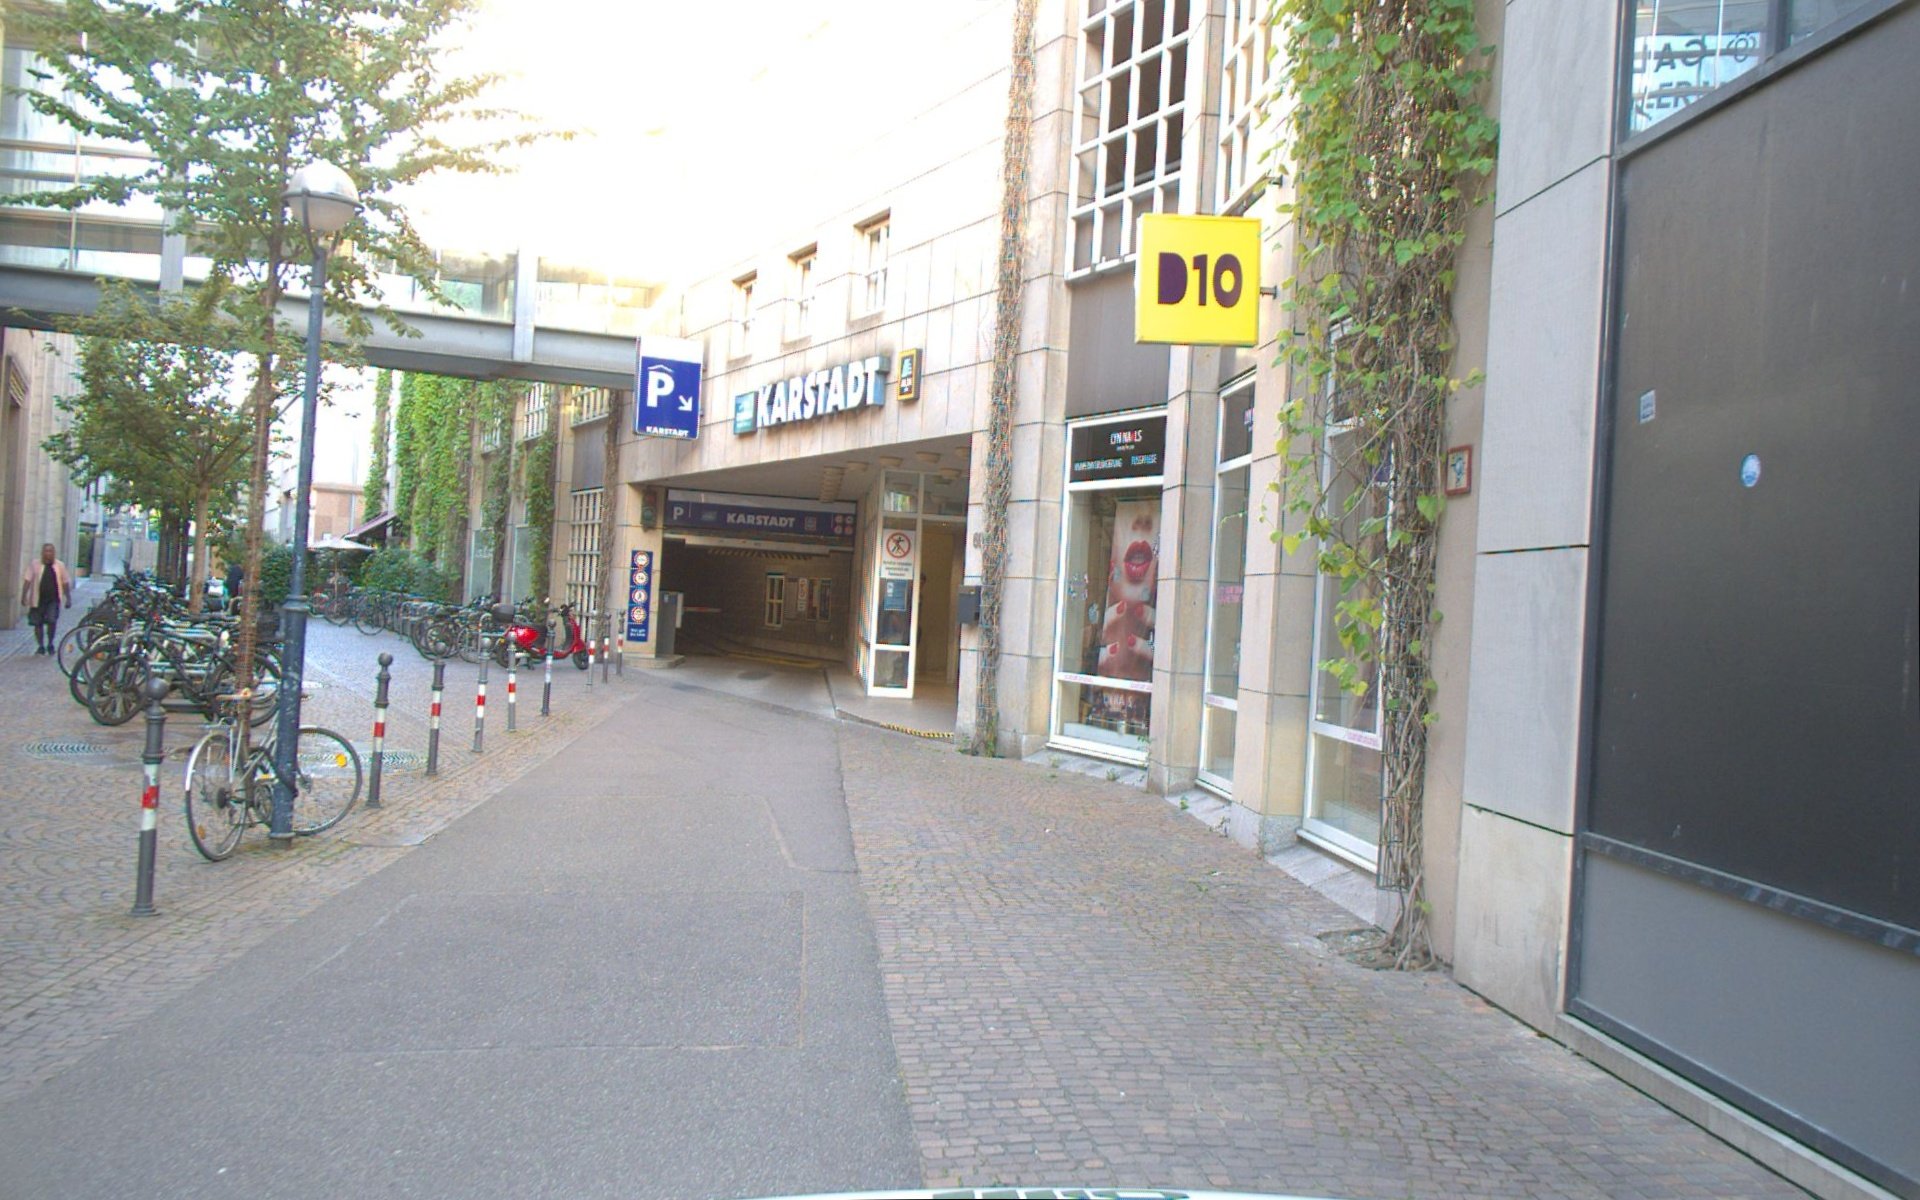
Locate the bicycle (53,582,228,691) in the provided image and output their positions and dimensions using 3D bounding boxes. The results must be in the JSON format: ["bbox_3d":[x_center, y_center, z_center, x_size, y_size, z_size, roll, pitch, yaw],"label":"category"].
[{"bbox_3d":[-9.753,0.443,19.719,1.813,1.246,0.529,2,0,-29],"label":"bicycle"}]

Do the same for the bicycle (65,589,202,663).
[{"bbox_3d":[-12.475,0.398,24.981,1.804,1.061,0.529,2,0,-29],"label":"bicycle"}]

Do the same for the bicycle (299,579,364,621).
[{"bbox_3d":[-19.050,0.009,50.115,1.752,1.211,0.581,2,0,-27],"label":"bicycle"}]

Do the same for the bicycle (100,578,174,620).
[{"bbox_3d":[-23.784,-0.025,47.809,1.883,1.131,0.476,2,0,-29],"label":"bicycle"}]

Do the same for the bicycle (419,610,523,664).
[{"bbox_3d":[-8.914,0.677,30.174,1.752,0.920,0.460,2,0,-27],"label":"bicycle"}]

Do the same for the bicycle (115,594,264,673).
[{"bbox_3d":[-10.885,0.476,23.394,1.856,1.061,0.529,2,0,-29],"label":"bicycle"}]

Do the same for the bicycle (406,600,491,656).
[{"bbox_3d":[-10.314,0.569,33.356,1.521,1.067,0.570,2,0,-27],"label":"bicycle"}]

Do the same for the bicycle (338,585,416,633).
[{"bbox_3d":[-14.606,0.221,41.454,1.752,1.134,0.538,2,0,-27],"label":"bicycle"}]

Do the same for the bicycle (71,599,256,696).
[{"bbox_3d":[-9.181,0.553,19.106,1.873,1.070,0.529,2,0,-29],"label":"bicycle"}]

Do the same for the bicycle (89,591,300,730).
[{"bbox_3d":[-7.232,0.573,15.654,1.746,1.252,0.529,2,0,-29],"label":"bicycle"}]

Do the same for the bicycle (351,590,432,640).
[{"bbox_3d":[-13.656,0.354,39.749,1.752,1.134,0.538,2,0,-27],"label":"bicycle"}]

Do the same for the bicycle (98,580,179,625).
[{"bbox_3d":[-21.787,0.075,43.896,1.883,1.131,0.476,2,0,-29],"label":"bicycle"}]

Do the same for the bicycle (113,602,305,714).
[{"bbox_3d":[-8.045,0.626,17.743,1.816,1.142,0.529,2,0,-29],"label":"bicycle"}]

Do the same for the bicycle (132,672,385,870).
[{"bbox_3d":[-3.988,0.936,9.543,0.482,0.955,1.660,4,0,9],"label":"bicycle"}]

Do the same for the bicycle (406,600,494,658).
[{"bbox_3d":[-9.869,0.564,32.003,1.521,1.067,0.570,2,0,-27],"label":"bicycle"}]

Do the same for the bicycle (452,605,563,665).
[{"bbox_3d":[-8.045,0.635,29.417,1.826,0.999,0.459,2,0,-27],"label":"bicycle"}]

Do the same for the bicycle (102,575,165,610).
[{"bbox_3d":[-28.388,-0.244,56.826,1.884,1.131,0.476,2,0,-30],"label":"bicycle"}]

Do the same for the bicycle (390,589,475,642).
[{"bbox_3d":[-12.011,0.350,37.668,1.752,1.134,0.538,2,0,-27],"label":"bicycle"}]

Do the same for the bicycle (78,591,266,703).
[{"bbox_3d":[-8.853,0.534,18.610,1.851,1.198,0.529,2,0,-29],"label":"bicycle"}]

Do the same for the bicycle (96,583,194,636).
[{"bbox_3d":[-16.722,0.197,33.937,1.760,1.037,0.476,2,0,-29],"label":"bicycle"}]

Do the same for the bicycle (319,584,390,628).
[{"bbox_3d":[-16.559,0.163,45.225,1.750,1.134,0.539,2,0,-24],"label":"bicycle"}]

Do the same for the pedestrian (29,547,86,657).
[{"bbox_3d":[-13.639,0.028,25.021,0.690,1.610,0.712,2,0,-28],"label":"pedestrian"}]

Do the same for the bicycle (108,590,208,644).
[{"bbox_3d":[-16.078,0.342,33.169,1.760,1.037,0.476,2,0,-29],"label":"bicycle"}]

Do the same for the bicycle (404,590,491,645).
[{"bbox_3d":[-11.373,0.392,36.703,1.752,1.134,0.538,2,0,-27],"label":"bicycle"}]

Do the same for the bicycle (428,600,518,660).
[{"bbox_3d":[-9.151,0.571,31.102,1.521,1.067,0.570,2,0,-27],"label":"bicycle"}]

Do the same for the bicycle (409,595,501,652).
[{"bbox_3d":[-10.530,0.494,34.512,1.752,1.134,0.538,2,0,-27],"label":"bicycle"}]

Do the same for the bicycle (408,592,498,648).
[{"bbox_3d":[-10.895,0.425,35.549,1.752,1.134,0.538,2,0,-27],"label":"bicycle"}]

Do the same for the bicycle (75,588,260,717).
[{"bbox_3d":[-8.062,0.540,16.845,1.635,1.252,0.529,2,0,-29],"label":"bicycle"}]

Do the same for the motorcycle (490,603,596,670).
[{"bbox_3d":[-7.025,0.617,27.898,1.643,1.069,0.460,2,0,-27],"label":"motorcycle"}]
